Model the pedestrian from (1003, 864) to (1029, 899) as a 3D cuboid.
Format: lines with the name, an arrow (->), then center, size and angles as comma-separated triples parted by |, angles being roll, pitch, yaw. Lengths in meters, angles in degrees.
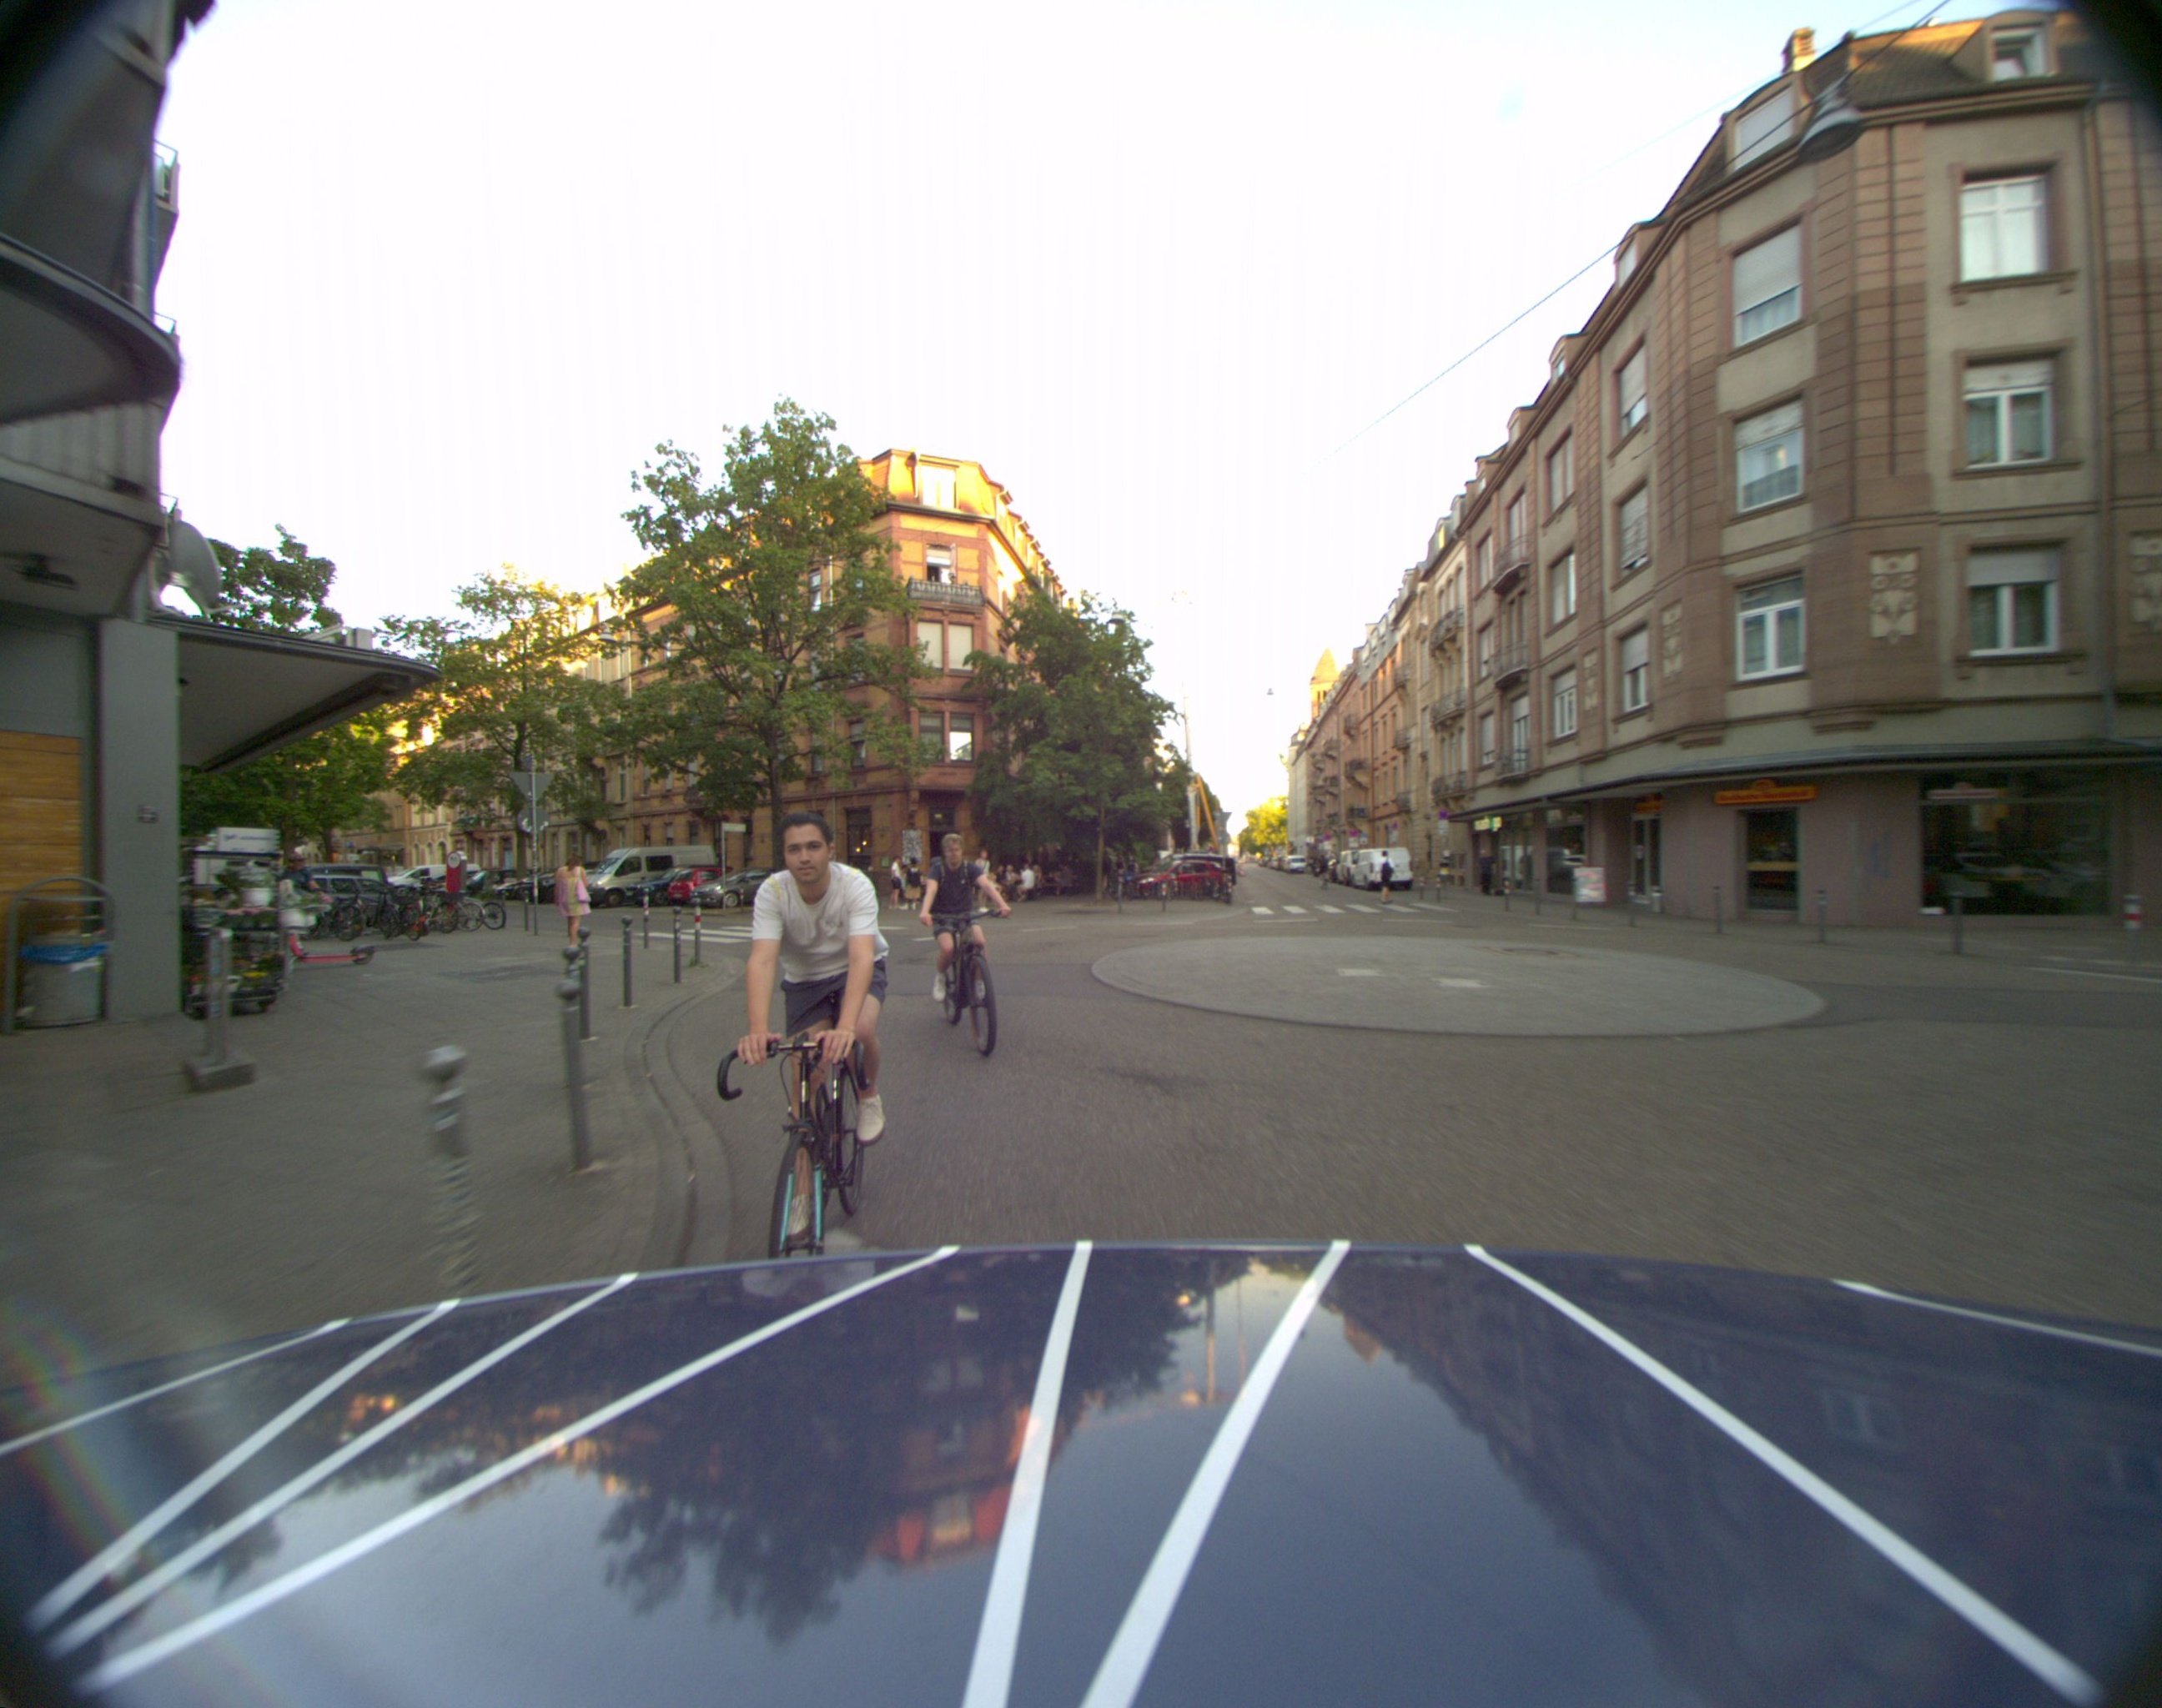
pedestrian -> -2.404, 1.008, 28.110 | 0.673, 1.265, 0.642 | -1, 2, 37

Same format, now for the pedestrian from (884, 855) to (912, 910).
pedestrian -> -5.930, 0.924, 24.670 | 0.674, 1.735, 0.640 | -2, 1, 2

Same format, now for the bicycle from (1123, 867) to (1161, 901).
bicycle -> 2.249, 1.094, 28.248 | 0.666, 1.158, 2.112 | 1, 0, -16

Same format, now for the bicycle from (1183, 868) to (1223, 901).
bicycle -> 4.665, 1.169, 29.264 | 0.666, 1.162, 2.112 | 1, 0, -16

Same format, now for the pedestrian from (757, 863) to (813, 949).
pedestrian -> -5.674, 0.967, 14.584 | 0.538, 1.597, 0.870 | 0, -1, 23

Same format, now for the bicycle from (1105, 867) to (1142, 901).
bicycle -> 1.540, 1.079, 28.068 | 0.666, 1.158, 2.112 | 1, 0, -16

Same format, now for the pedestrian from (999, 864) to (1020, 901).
pedestrian -> -2.559, 1.017, 27.280 | 0.674, 1.265, 0.640 | -2, 1, -4

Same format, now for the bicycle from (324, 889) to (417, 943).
bicycle -> -15.004, 1.292, 16.047 | 1.780, 1.076, 0.570 | 0, 0, 15

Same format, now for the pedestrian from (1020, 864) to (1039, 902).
pedestrian -> -1.821, 1.013, 26.821 | 0.640, 1.265, 0.674 | -2, 1, -3

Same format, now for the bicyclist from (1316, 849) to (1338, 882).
bicyclist -> 12.520, 0.601, 38.699 | 0.754, 1.630, 1.202 | -1, 0, 5

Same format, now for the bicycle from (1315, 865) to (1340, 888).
bicycle -> 12.528, 1.143, 38.636 | 0.754, 1.124, 1.977 | -1, -1, 5

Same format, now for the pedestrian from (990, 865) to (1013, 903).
pedestrian -> -2.806, 1.043, 26.693 | 0.675, 1.265, 0.639 | -2, 1, -16

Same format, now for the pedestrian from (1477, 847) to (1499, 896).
pedestrian -> 15.003, 0.633, 28.033 | 0.654, 1.768, 0.693 | -2, -1, 29

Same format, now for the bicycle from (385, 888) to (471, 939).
bicycle -> -14.851, 1.333, 17.276 | 1.780, 1.076, 0.570 | 0, 0, 15

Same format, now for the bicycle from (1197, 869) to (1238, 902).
bicycle -> 5.197, 1.178, 29.031 | 0.666, 1.162, 2.112 | 1, 0, -16

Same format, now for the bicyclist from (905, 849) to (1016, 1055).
bicyclist -> -1.028, 0.760, 6.342 | 0.795, 1.562, 0.825 | -2, 0, -15

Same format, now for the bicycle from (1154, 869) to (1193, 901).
bicycle -> 3.470, 1.152, 28.667 | 0.666, 1.125, 2.112 | 1, 0, -16

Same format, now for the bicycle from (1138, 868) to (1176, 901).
bicycle -> 2.818, 1.126, 28.429 | 0.666, 1.125, 2.112 | 1, 0, -16

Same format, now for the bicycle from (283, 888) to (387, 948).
bicycle -> -15.013, 1.263, 15.296 | 1.780, 1.104, 0.684 | 0, -1, 15

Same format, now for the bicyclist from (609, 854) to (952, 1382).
bicyclist -> -0.977, 0.769, 2.707 | 0.649, 1.500, 0.954 | -1, 1, 13

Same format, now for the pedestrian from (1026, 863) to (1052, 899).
pedestrian -> -1.566, 0.991, 28.155 | 0.676, 1.265, 0.639 | -3, 2, -40

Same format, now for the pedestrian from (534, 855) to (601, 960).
pedestrian -> -8.720, 0.895, 12.929 | 0.694, 1.735, 0.712 | 0, -1, -11

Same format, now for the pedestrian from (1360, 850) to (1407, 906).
pedestrian -> 9.785, 0.750, 24.582 | 1.214, 1.733, 0.748 | -2, 0, -24

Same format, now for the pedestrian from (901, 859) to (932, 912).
pedestrian -> -5.259, 0.988, 24.314 | 0.642, 1.628, 0.673 | -3, 2, -43

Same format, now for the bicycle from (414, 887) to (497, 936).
bicycle -> -14.700, 1.332, 17.863 | 1.780, 1.076, 0.570 | 0, 0, 15

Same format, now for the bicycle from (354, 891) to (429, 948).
bicycle -> -13.920, 1.292, 15.333 | 1.779, 1.076, 0.571 | -1, -1, 29

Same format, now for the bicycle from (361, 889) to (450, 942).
bicycle -> -14.785, 1.327, 16.641 | 1.780, 1.076, 0.570 | 0, 0, 15

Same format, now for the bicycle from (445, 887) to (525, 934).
bicycle -> -14.510, 1.364, 18.495 | 1.780, 1.076, 0.570 | 0, 0, 15

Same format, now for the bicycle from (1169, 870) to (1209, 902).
bicycle -> 4.098, 1.195, 28.897 | 0.666, 1.125, 2.112 | 1, 0, -16

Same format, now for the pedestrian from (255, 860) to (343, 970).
pedestrian -> -12.688, 0.952, 12.337 | 0.766, 1.706, 0.862 | 0, -1, 34

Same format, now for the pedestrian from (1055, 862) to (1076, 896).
pedestrian -> -0.596, 0.978, 29.691 | 0.721, 1.297, 0.750 | -1, 0, -9

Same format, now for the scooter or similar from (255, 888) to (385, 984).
scooter or similar -> -10.725, 1.120, 10.747 | 0.414, 1.225, 1.235 | 0, -1, 27

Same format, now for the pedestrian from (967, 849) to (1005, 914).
pedestrian -> -2.807, 0.799, 22.603 | 0.673, 1.858, 0.912 | -1, 2, 25

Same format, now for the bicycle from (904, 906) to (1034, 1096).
bicycle -> -1.019, 1.072, 6.337 | 0.795, 1.132, 2.340 | -2, -1, -14
